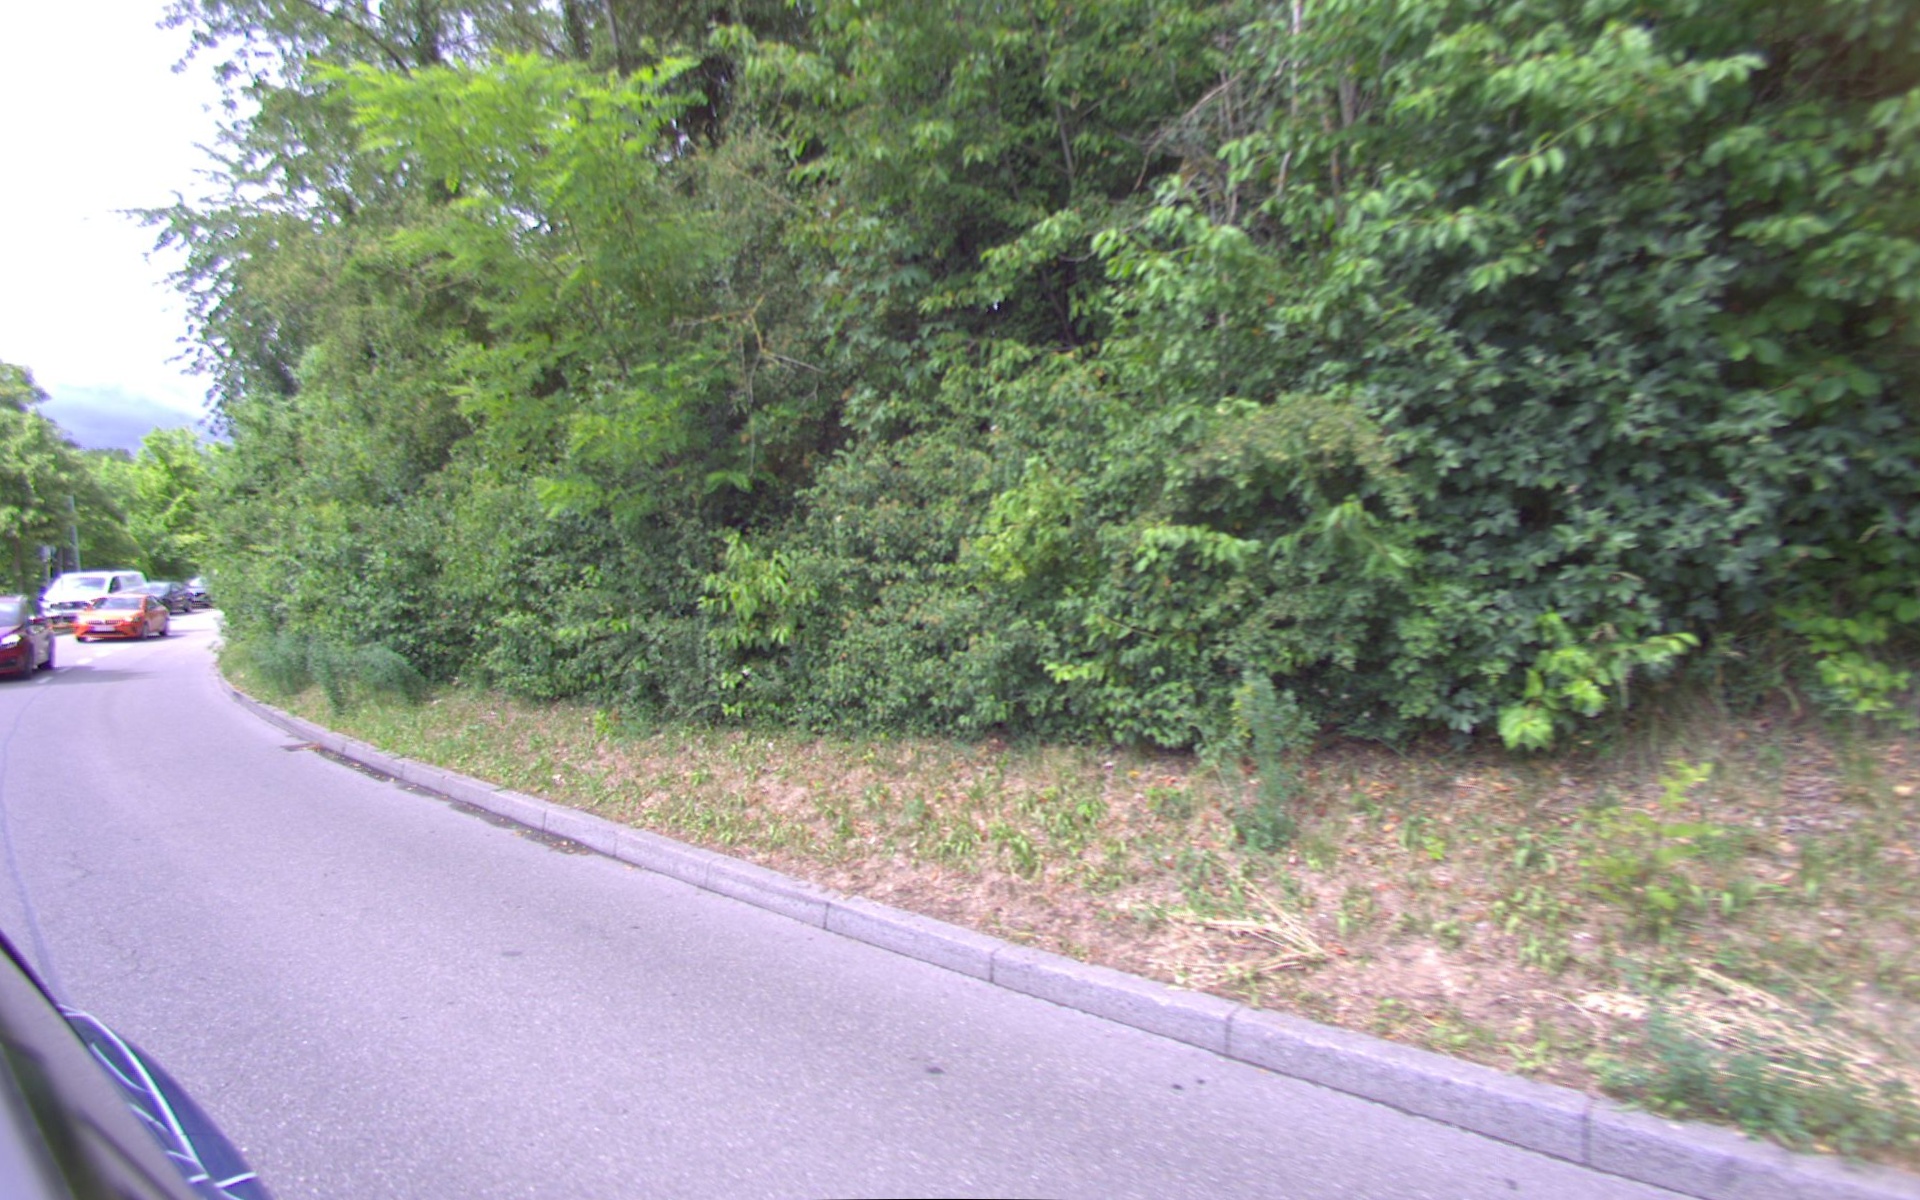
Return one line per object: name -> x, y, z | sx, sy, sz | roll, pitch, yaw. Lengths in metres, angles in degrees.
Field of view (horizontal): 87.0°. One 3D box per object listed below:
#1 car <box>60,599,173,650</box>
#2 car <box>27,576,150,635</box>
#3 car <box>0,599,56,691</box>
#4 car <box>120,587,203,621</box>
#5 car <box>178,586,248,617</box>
car -> -26.944, 0.737, 32.482 | 1.766, 1.423, 4.127 | 0, 1, -25
car -> -33.391, 0.151, 38.979 | 1.839, 2.074, 5.445 | -1, 1, -21
car -> -19.730, 0.847, 20.253 | 1.881, 1.711, 4.398 | 0, 0, -34
car -> -35.807, 0.153, 45.519 | 1.766, 1.423, 4.119 | -1, 1, -21
car -> -37.293, 0.040, 50.627 | 1.766, 1.423, 4.119 | -1, 1, -21
